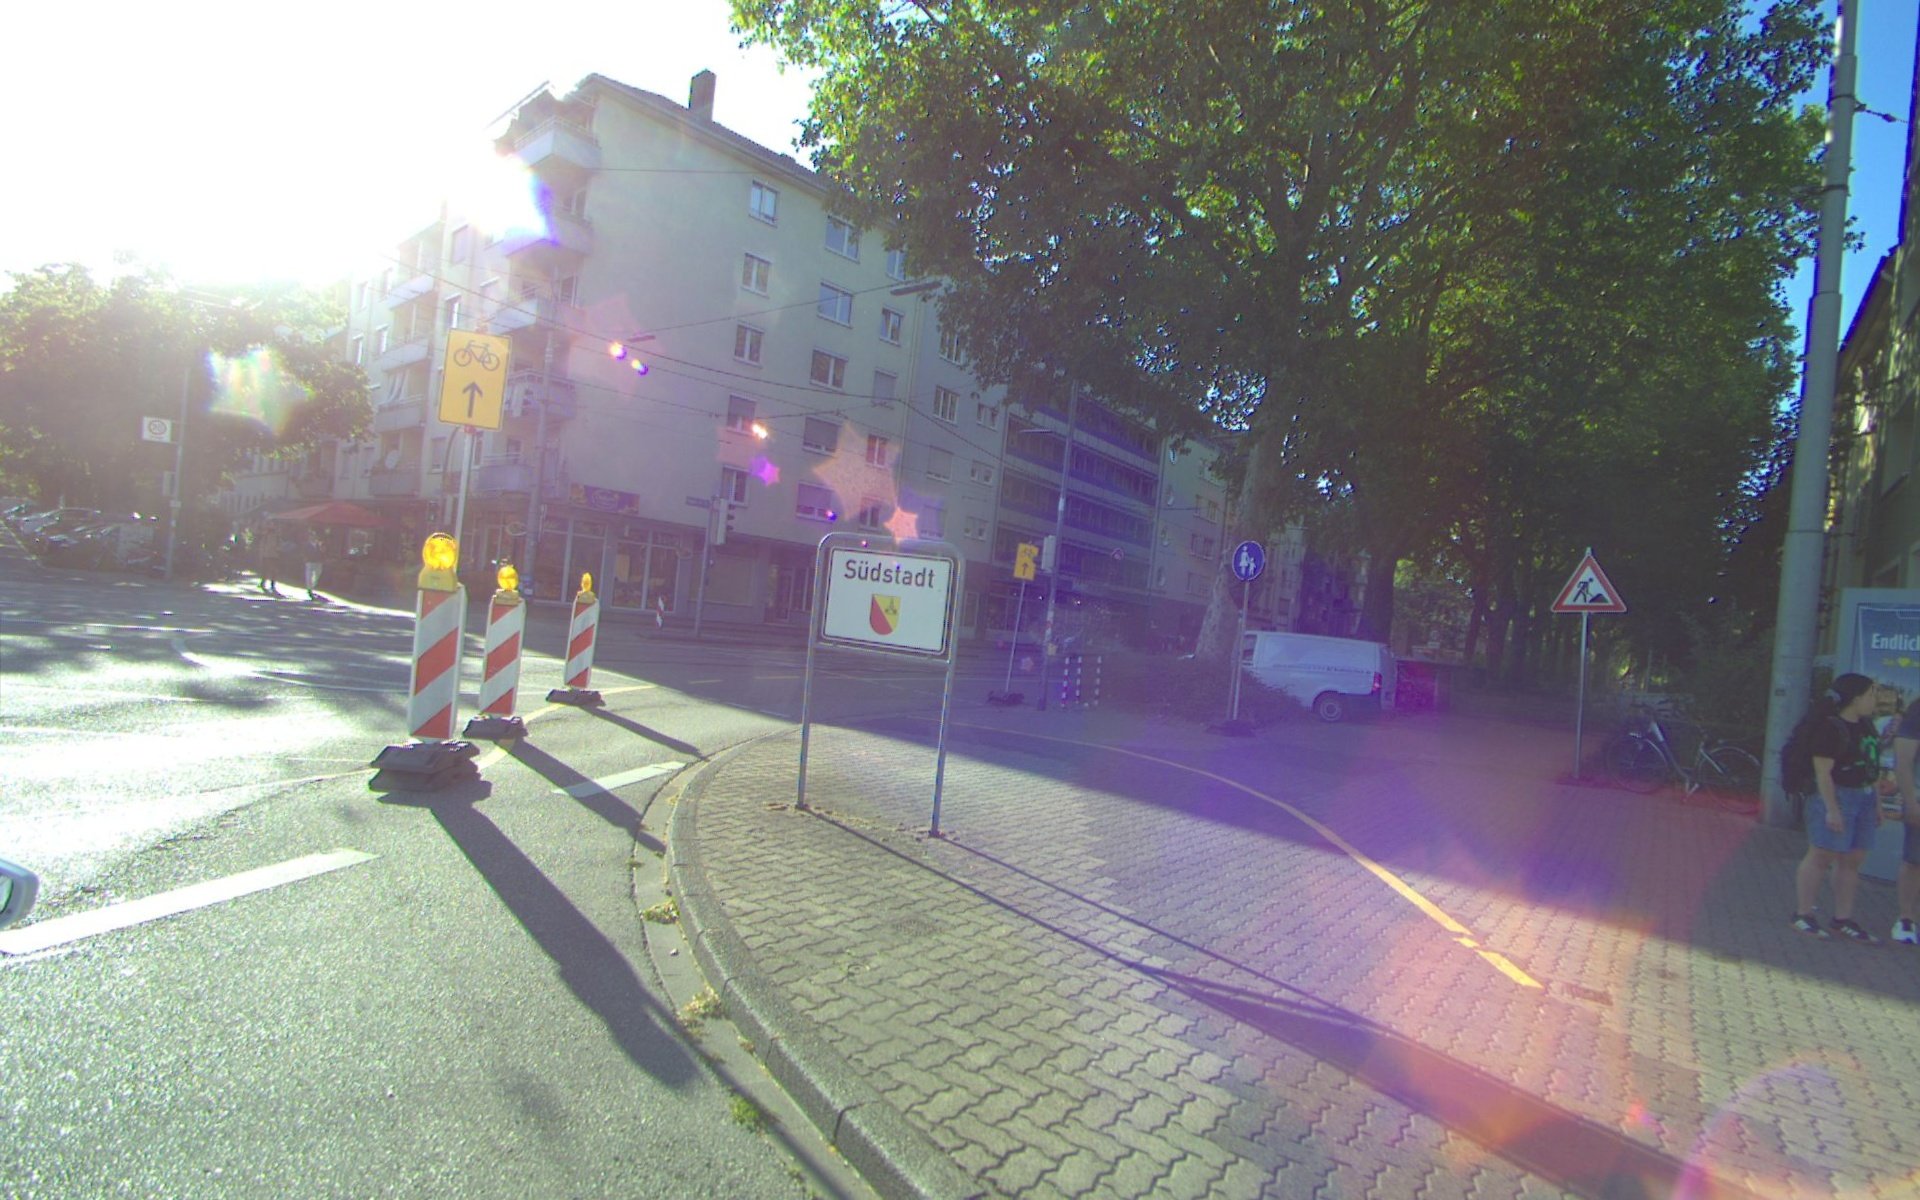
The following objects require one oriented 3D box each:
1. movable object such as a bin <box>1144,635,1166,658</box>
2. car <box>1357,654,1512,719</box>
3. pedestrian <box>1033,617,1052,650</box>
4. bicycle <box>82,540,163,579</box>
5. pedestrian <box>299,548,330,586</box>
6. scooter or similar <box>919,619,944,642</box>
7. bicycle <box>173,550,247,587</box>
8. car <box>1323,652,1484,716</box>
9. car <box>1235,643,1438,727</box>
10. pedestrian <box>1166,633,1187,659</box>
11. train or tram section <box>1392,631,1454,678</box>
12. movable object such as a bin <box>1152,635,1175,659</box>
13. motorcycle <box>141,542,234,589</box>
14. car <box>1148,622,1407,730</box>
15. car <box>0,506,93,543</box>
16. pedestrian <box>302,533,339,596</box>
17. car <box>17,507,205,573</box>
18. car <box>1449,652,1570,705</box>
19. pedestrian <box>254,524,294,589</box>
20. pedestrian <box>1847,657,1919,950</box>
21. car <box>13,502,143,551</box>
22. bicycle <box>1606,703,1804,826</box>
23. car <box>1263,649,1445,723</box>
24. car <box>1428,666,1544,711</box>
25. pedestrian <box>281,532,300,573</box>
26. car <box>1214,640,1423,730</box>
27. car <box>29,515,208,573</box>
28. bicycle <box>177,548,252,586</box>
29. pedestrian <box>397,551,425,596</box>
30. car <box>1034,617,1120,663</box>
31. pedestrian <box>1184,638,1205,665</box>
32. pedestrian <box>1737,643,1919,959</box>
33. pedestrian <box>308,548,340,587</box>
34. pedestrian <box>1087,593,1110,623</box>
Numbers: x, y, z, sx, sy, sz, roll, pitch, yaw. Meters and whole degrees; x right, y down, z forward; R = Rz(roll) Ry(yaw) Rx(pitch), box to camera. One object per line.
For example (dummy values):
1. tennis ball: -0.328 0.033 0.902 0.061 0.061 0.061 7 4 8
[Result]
1. movable object such as a bin: 13.060 3.110 67.279 0.999 1.446 1.142 6 0 32
2. car: 17.045 3.075 36.221 4.656 1.743 1.913 5 -1 37
3. pedestrian: 4.477 1.825 54.748 0.619 1.668 0.659 6 0 -33
4. bicycle: -24.632 -1.184 29.589 0.663 0.944 1.719 6 -1 44
5. pedestrian: -25.141 -1.279 39.188 0.808 1.379 0.904 6 0 -40
6. scooter or similar: -1.332 1.437 47.296 0.460 0.965 1.429 6 0 30
7. bicycle: -23.336 -0.984 31.307 0.555 0.944 1.719 6 -1 44
8. car: 15.184 2.852 34.588 4.657 1.621 1.913 5 -1 38
9. car: 10.052 2.227 27.020 4.657 1.621 1.913 5 -1 38
10. pedestrian: 14.386 3.068 66.780 0.881 1.645 1.031 6 1 35
11. train or tram section: 43.302 5.196 93.813 2.825 3.682 13.160 6 -1 35
12. movable object such as a bin: 13.854 3.189 68.469 1.001 1.446 1.252 6 0 37
13. motorcycle: -22.337 -0.993 29.114 0.825 1.123 1.950 6 -1 39
14. car: 7.099 1.672 22.778 5.158 1.847 1.925 4 -3 36
15. car: -65.551 -5.343 71.941 2.331 1.946 5.082 3 -3 41
16. pedestrian: -18.832 -1.044 29.605 0.688 1.772 0.831 6 0 -39
17. car: -35.050 -2.424 41.690 2.331 1.946 5.612 3 -3 41
18. car: 32.535 4.628 59.674 5.876 2.395 2.053 6 0 38
19. pedestrian: -19.800 -1.252 29.047 0.684 1.772 0.790 6 0 -25
20. pedestrian: 6.265 1.285 6.228 0.680 1.772 0.795 6 0 4
21. car: -48.745 -4.002 55.685 2.331 1.946 5.082 3 -3 41
22. bicycle: 8.494 1.838 11.589 0.512 1.070 1.931 6 -1 -10
23. car: 11.455 2.467 29.368 4.528 1.525 1.914 6 -1 35
24. car: 25.261 4.210 48.334 4.653 1.553 1.914 6 -1 35
25. pedestrian: -34.584 -2.428 51.945 0.504 2.038 0.535 6 0 37
26. car: 8.782 2.046 24.806 4.356 1.621 1.935 6 -1 38
27. car: -33.264 -2.166 39.875 2.331 1.575 5.082 3 -3 41
28. bicycle: -22.790 -1.006 30.774 0.555 0.944 1.719 6 -1 44
29. pedestrian: -20.584 -0.978 37.712 0.470 1.611 0.618 6 0 28
30. car: 5.660 1.936 48.199 1.888 1.829 4.343 6 -1 40
31. pedestrian: 15.477 3.392 66.462 0.881 1.644 1.031 6 0 37
32. pedestrian: 5.554 1.195 6.221 0.681 1.772 0.794 6 0 -4
33. pedestrian: -24.200 -1.238 38.272 0.808 1.379 0.904 6 0 -40
34. pedestrian: 8.420 0.514 61.024 1.013 1.683 1.228 6 0 17
